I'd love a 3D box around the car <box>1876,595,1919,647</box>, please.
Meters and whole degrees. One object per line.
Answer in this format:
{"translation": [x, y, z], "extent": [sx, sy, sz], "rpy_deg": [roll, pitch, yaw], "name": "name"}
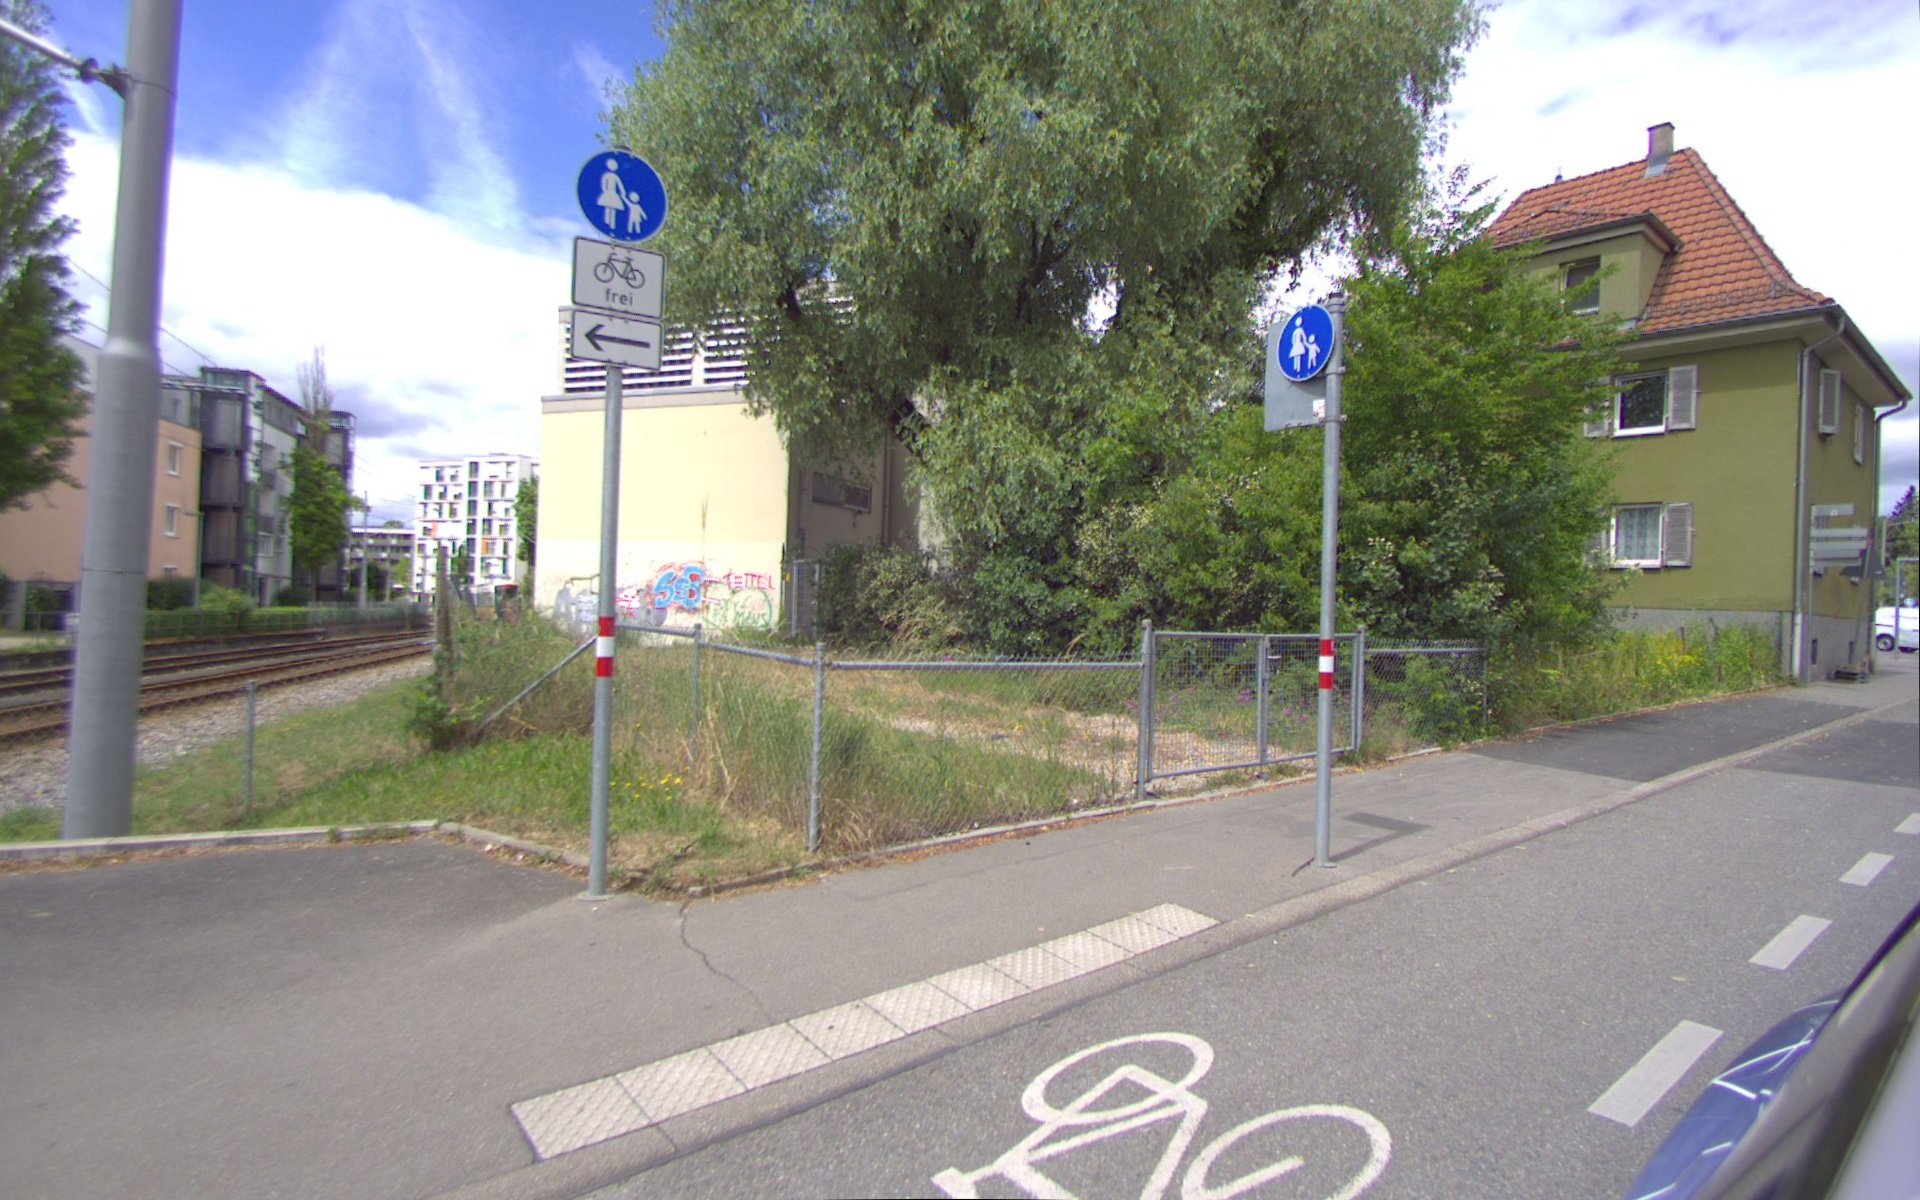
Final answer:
{"translation": [39.305, 0.881, 39.809], "extent": [1.958, 2.019, 4.380], "rpy_deg": [1, 1, -22], "name": "car"}
